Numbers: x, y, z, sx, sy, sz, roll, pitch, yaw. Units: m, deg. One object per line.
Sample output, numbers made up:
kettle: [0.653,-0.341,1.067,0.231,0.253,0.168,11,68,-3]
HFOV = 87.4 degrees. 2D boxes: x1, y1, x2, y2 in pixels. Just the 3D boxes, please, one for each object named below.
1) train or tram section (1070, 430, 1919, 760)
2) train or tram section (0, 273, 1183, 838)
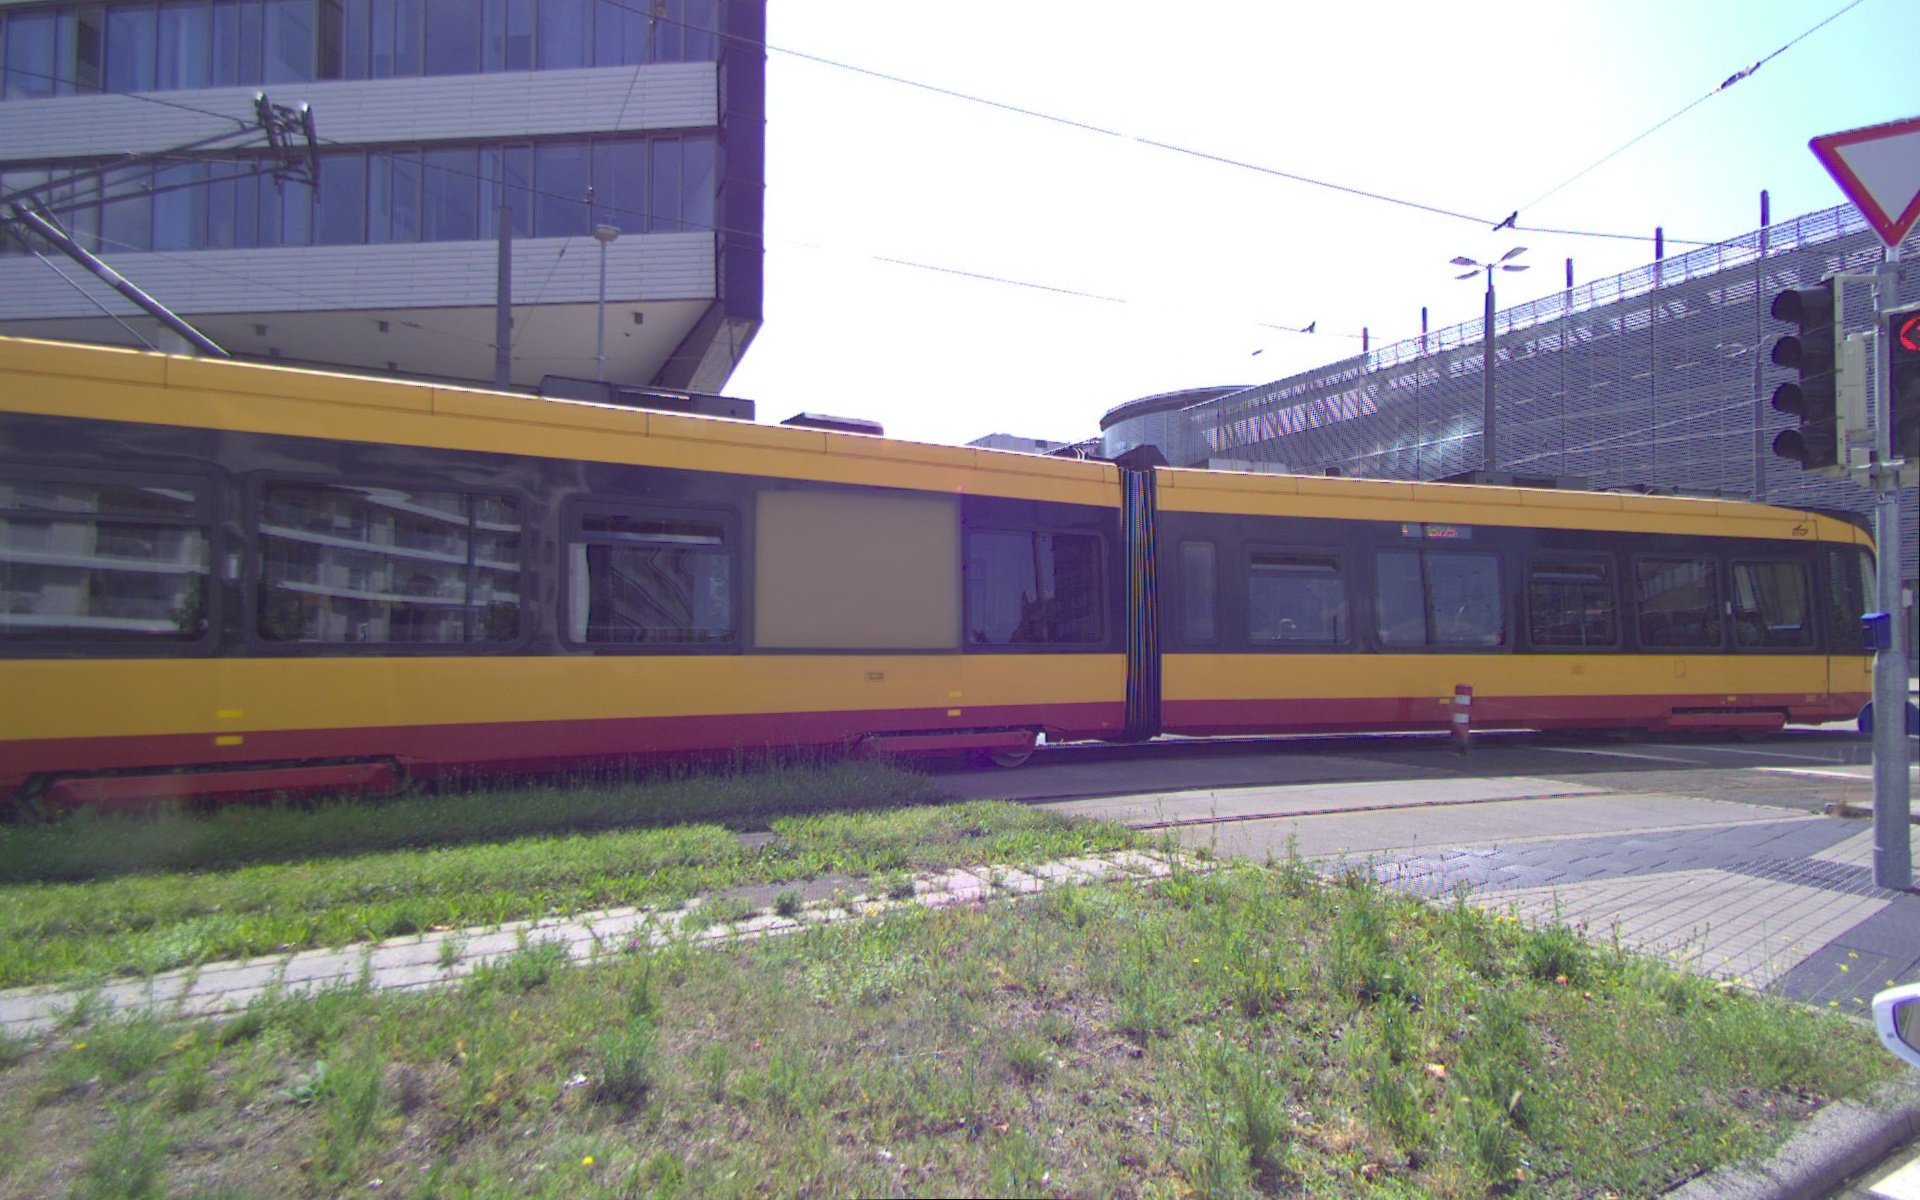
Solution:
train or tram section: [7.918,0.080,14.299,12.427,3.668,3.056,1,-3,-16]
train or tram section: [-3.005,-0.132,9.927,10.856,3.650,3.043,1,-3,-28]
